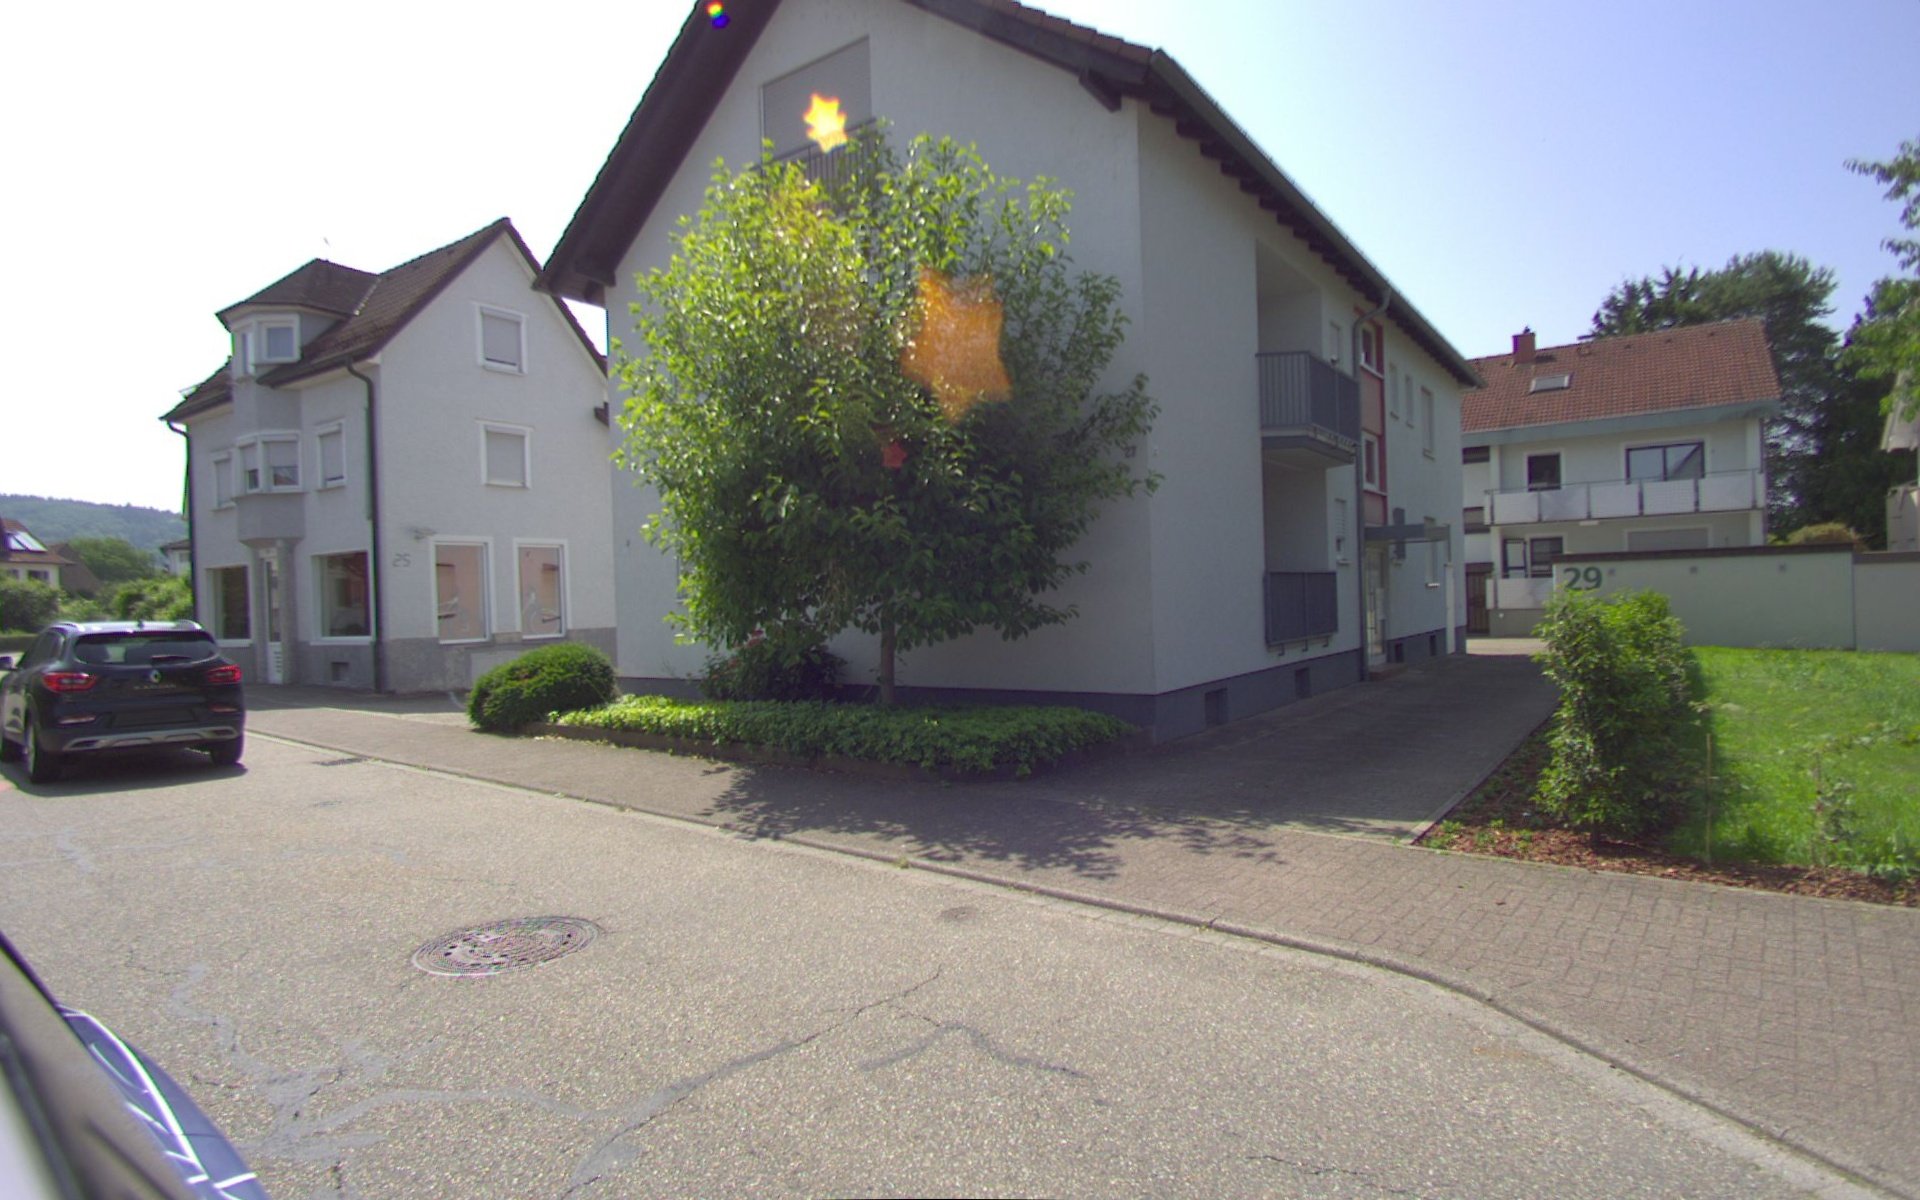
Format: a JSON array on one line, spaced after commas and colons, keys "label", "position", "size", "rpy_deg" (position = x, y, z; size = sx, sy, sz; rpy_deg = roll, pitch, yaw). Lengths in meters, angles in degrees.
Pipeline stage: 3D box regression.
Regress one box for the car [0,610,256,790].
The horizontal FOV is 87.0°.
[{"label": "car", "position": [-9.554, 1.003, 11.381], "size": [4.103, 1.636, 1.757], "rpy_deg": [-3, -2, 41]}]
